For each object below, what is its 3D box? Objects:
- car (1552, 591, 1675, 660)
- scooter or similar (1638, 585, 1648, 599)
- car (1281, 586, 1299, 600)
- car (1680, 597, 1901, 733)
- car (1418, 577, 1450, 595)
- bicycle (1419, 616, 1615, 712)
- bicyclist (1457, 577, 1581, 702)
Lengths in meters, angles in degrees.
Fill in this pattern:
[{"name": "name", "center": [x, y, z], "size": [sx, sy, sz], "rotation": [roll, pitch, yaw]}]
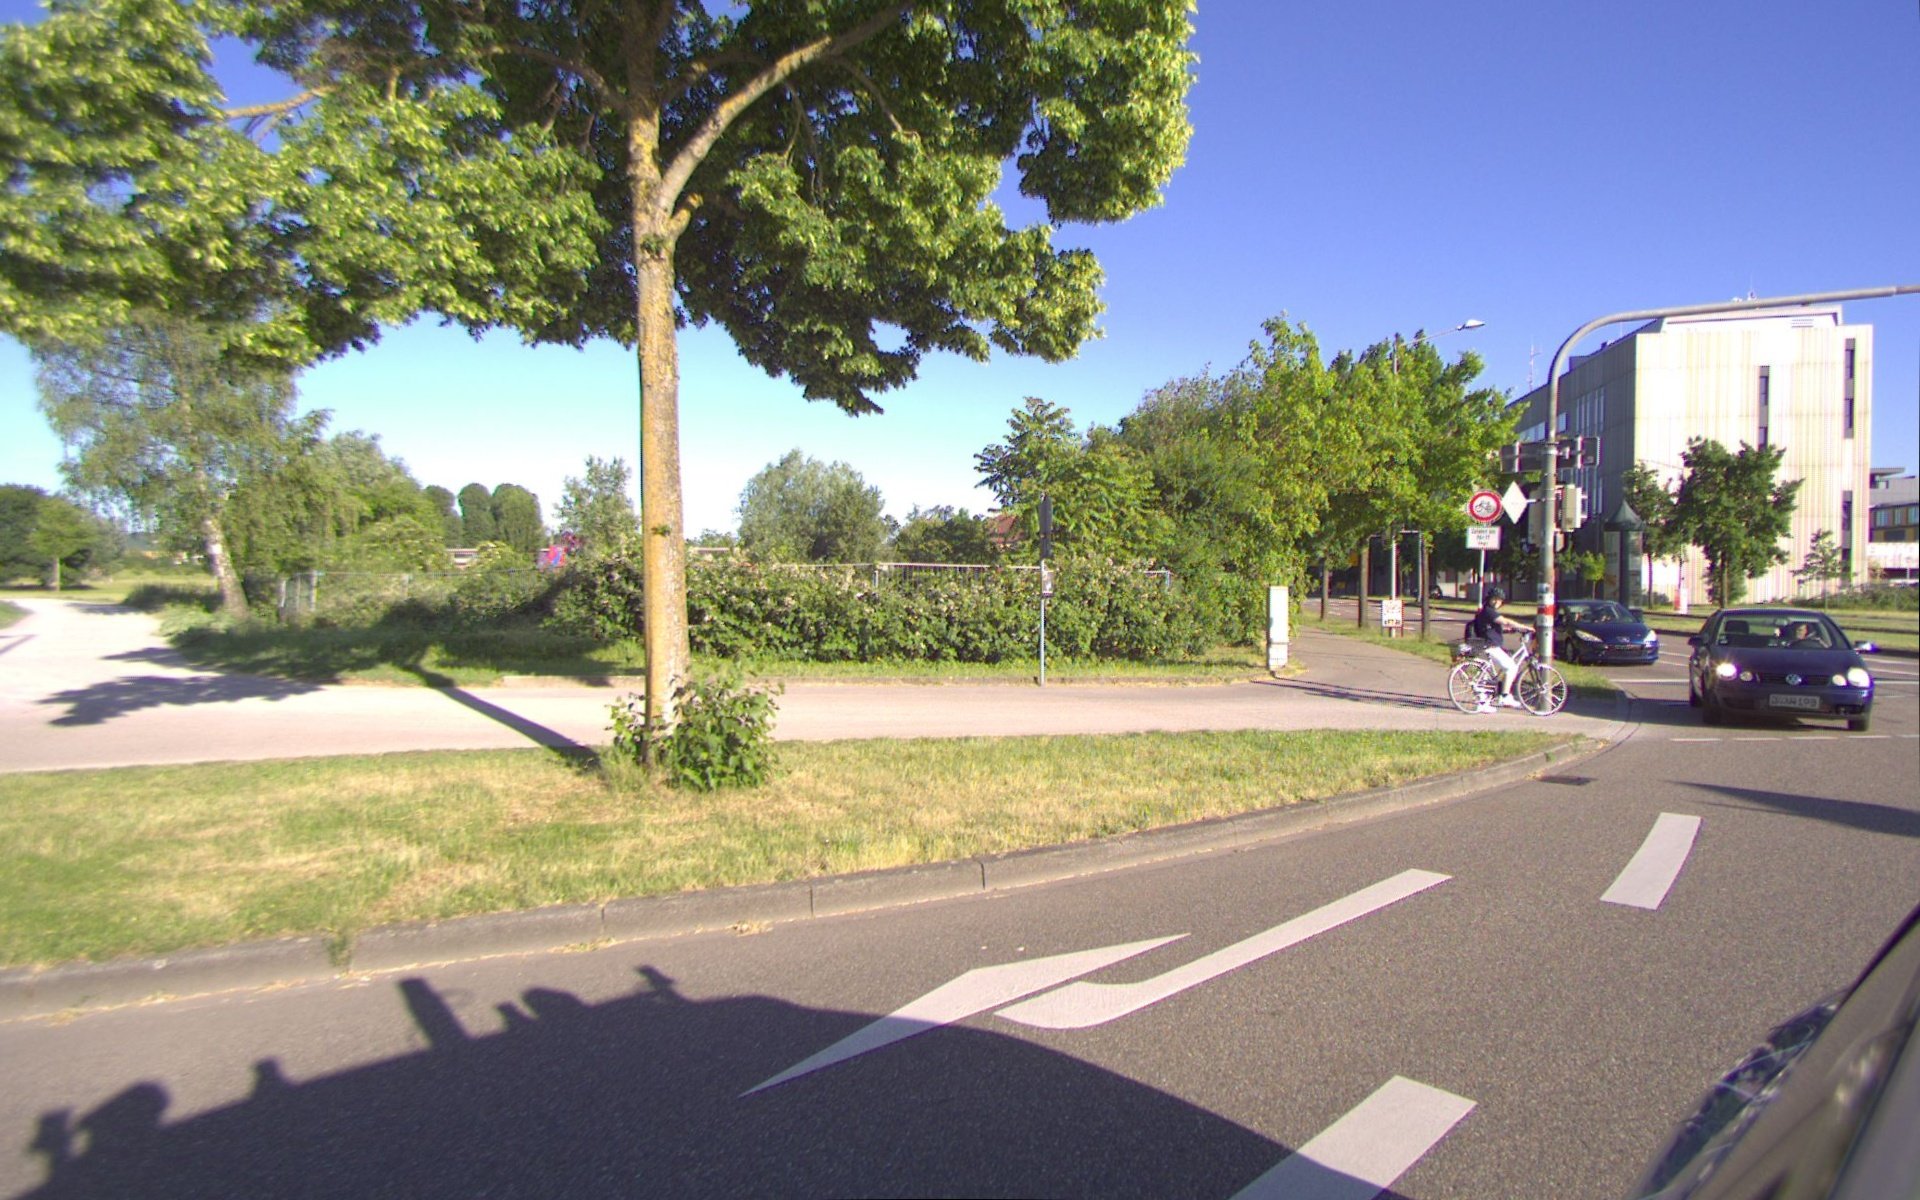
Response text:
[{"name": "car", "center": [15.551, 0.556, 24.297], "size": [1.738, 1.472, 3.970], "rotation": [-1, 0, 22]}, {"name": "scooter or similar", "center": [54.688, -0.662, 81.024], "size": [0.449, 1.124, 1.394], "rotation": [1, 1, 26]}, {"name": "car", "center": [42.045, -0.896, 128.944], "size": [1.972, 1.709, 3.980], "rotation": [1, 1, 16]}, {"name": "car", "center": [10.986, 0.716, 13.702], "size": [1.625, 1.486, 4.497], "rotation": [0, 1, 30]}, {"name": "car", "center": [48.462, -1.409, 103.561], "size": [1.969, 1.760, 4.722], "rotation": [0, 2, 12]}, {"name": "bicycle", "center": [7.367, 0.834, 13.430], "size": [2.171, 1.169, 0.878], "rotation": [1, 2, -10]}, {"name": "bicyclist", "center": [7.394, 0.500, 13.431], "size": [1.065, 1.581, 0.878], "rotation": [1, 2, -10]}]
